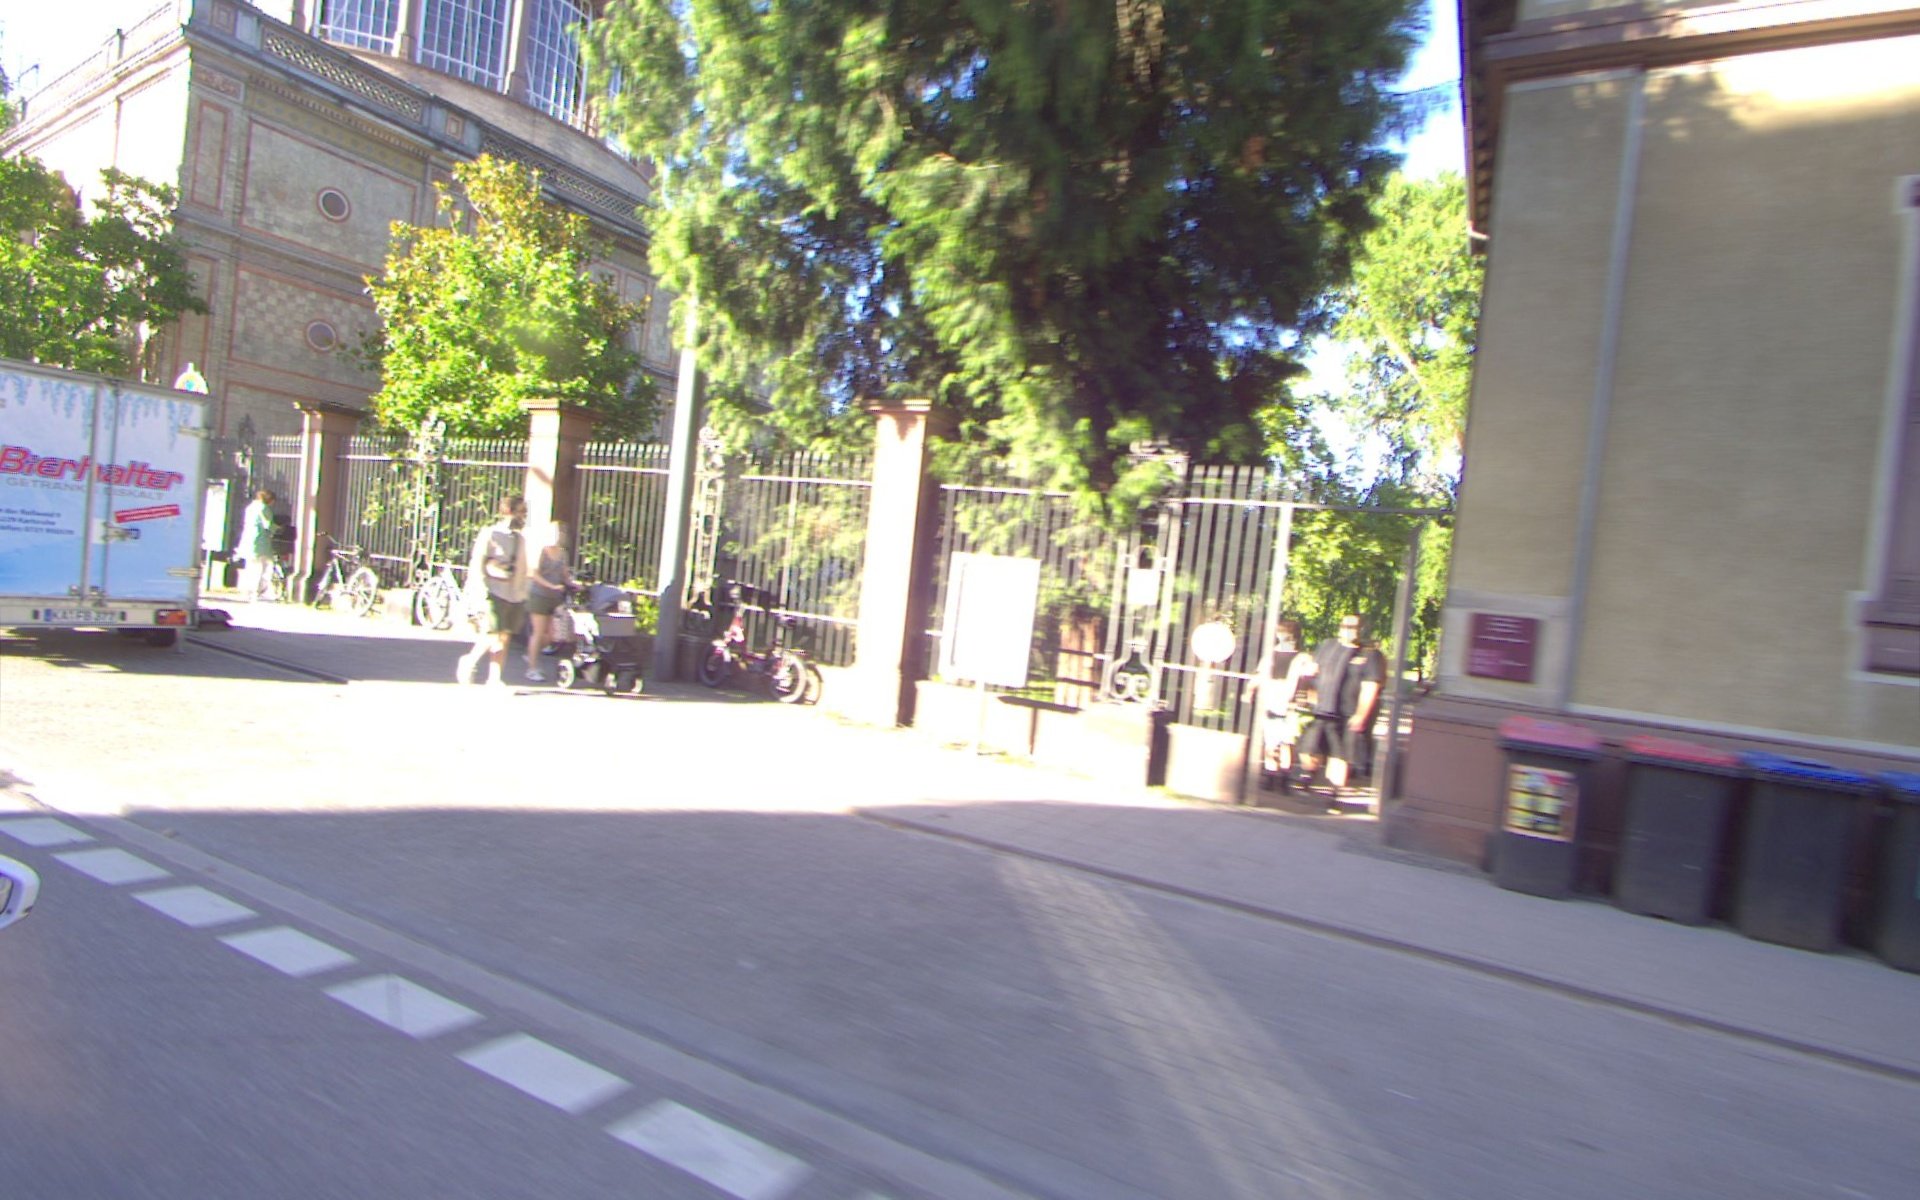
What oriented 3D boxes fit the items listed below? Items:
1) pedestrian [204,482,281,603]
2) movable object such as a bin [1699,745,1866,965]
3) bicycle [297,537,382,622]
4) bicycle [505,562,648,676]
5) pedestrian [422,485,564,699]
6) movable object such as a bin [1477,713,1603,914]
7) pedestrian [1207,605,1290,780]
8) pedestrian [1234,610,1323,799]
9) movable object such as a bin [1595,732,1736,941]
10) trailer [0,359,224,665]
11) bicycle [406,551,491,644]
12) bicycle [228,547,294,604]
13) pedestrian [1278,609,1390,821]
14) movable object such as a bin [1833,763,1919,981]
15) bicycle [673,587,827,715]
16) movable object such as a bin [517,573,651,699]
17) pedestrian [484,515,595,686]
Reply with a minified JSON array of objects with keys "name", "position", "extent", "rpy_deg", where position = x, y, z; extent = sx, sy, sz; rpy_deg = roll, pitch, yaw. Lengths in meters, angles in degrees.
[{"name":"pedestrian","position":[-11.253,-0.895,15.786],"extent":[0.725,1.791,0.639],"rpy_deg":[7,2,32]},{"name":"movable object such as a bin","position":[4.951,1.496,6.105],"extent":[0.561,1.087,0.793],"rpy_deg":[7,2,31]},{"name":"bicycle","position":[-9.297,-0.317,15.038],"extent":[1.654,1.120,0.398],"rpy_deg":[7,3,35]},{"name":"bicycle","position":[-4.617,0.214,12.053],"extent":[1.895,1.144,0.395],"rpy_deg":[7,1,30]},{"name":"pedestrian","position":[-4.500,-0.076,9.708],"extent":[0.874,1.919,0.716],"rpy_deg":[7,2,27]},{"name":"movable object such as a bin","position":[3.779,1.343,6.564],"extent":[0.561,1.087,0.869],"rpy_deg":[7,2,31]},{"name":"pedestrian","position":[3.077,0.966,10.712],"extent":[0.580,1.752,0.508],"rpy_deg":[7,2,27]},{"name":"pedestrian","position":[3.148,1.007,9.933],"extent":[0.580,1.752,0.507],"rpy_deg":[7,1,28]},{"name":"movable object such as a bin","position":[4.418,1.442,6.348],"extent":[0.561,1.087,0.793],"rpy_deg":[7,2,31]},{"name":"trailer","position":[-9.655,-0.931,10.049],"extent":[4.416,2.562,2.080],"rpy_deg":[7,3,31]},{"name":"bicycle","position":[-6.949,-0.049,13.641],"extent":[1.507,1.120,0.274],"rpy_deg":[7,3,35]},{"name":"bicycle","position":[-11.488,-0.407,16.517],"extent":[1.427,0.803,0.264],"rpy_deg":[7,1,31]},{"name":"pedestrian","position":[3.349,1.002,9.025],"extent":[0.688,1.739,0.641],"rpy_deg":[8,1,21]},{"name":"movable object such as a bin","position":[5.519,1.558,5.776],"extent":[0.526,1.087,0.793],"rpy_deg":[7,2,31]},{"name":"bicycle","position":[-2.341,0.528,11.076],"extent":[1.796,1.172,0.418],"rpy_deg":[7,3,32]},{"name":"movable object such as a bin","position":[-3.848,0.351,10.299],"extent":[1.032,1.133,0.712],"rpy_deg":[7,3,28]},{"name":"pedestrian","position":[-4.508,0.005,10.796],"extent":[0.682,1.724,0.683],"rpy_deg":[7,2,29]}]
